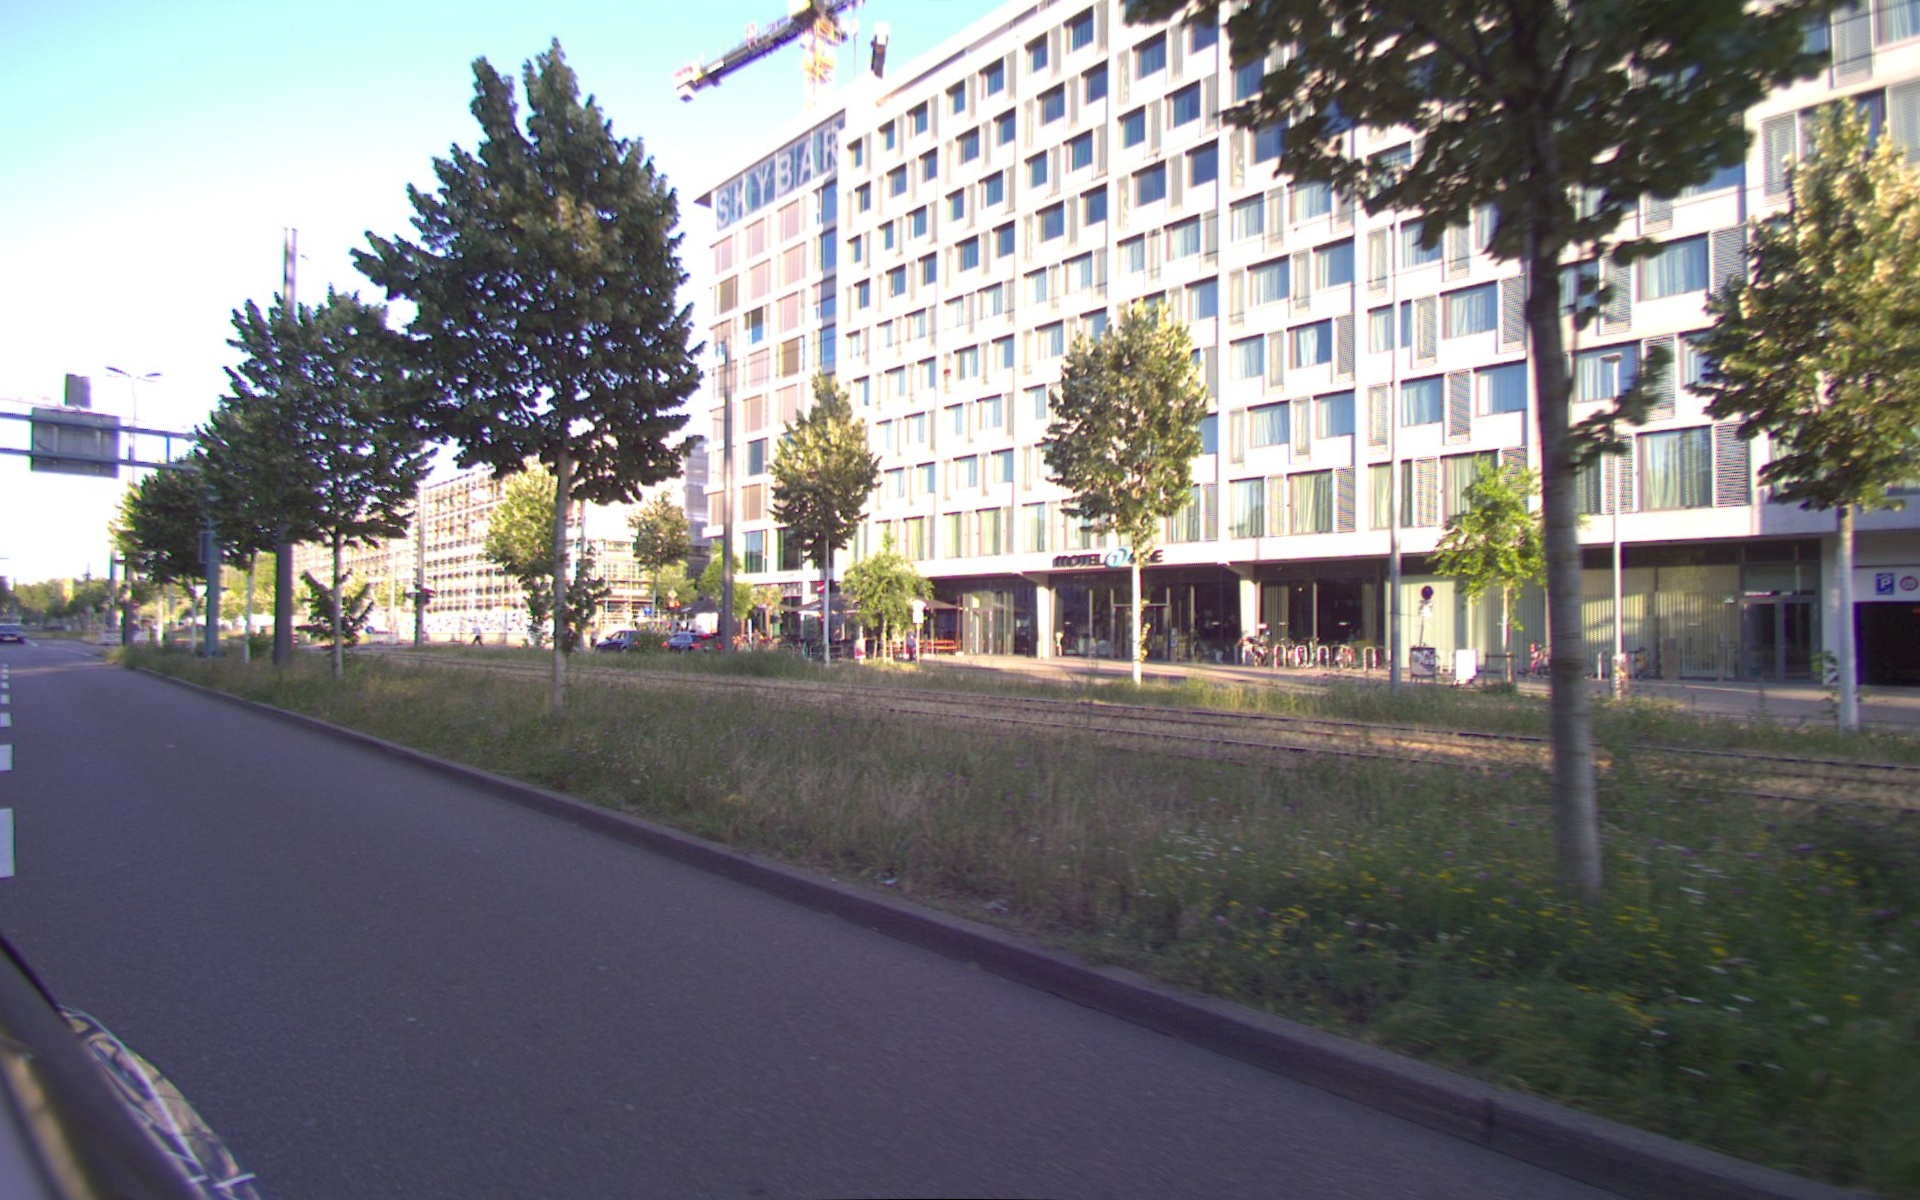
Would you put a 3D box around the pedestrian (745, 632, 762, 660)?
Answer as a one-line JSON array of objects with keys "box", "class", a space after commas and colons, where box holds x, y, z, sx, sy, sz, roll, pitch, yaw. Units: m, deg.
[{"box": [-12.095, 2.681, 59.185, 0.705, 1.616, 0.674, -2, -1, 27], "class": "pedestrian"}]

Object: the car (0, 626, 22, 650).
[{"box": [-67.252, 2.688, 71.257, 1.678, 1.609, 4.264, 1, -2, -42], "class": "car"}]

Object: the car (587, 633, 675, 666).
[{"box": [-15.450, 2.288, 47.359, 1.991, 1.452, 4.805, 5, -5, -44], "class": "car"}]

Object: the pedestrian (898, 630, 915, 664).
[{"box": [-2.573, 2.244, 48.452, 0.491, 1.612, 0.604, -1, -1, -42], "class": "pedestrian"}]

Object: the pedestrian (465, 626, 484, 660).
[{"box": [-26.831, 2.371, 55.933, 0.698, 1.850, 0.763, 0, -2, -45], "class": "pedestrian"}]

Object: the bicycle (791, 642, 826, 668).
[{"box": [-7.612, 2.752, 50.867, 0.443, 1.208, 1.888, -2, -1, 43], "class": "bicycle"}]

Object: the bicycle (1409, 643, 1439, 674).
[{"box": [16.237, 2.033, 35.402, 0.421, 1.028, 1.768, -2, -3, 42], "class": "bicycle"}]

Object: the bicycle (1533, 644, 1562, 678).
[{"box": [18.738, 1.936, 32.265, 0.421, 1.028, 1.768, -2, -3, 42], "class": "bicycle"}]

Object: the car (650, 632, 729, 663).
[{"box": [-13.219, 2.276, 49.264, 1.863, 1.451, 4.226, 2, -3, -45], "class": "car"}]

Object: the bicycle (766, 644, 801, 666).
[{"box": [-9.102, 2.844, 52.180, 0.443, 1.067, 1.888, -2, -1, 43], "class": "bicycle"}]

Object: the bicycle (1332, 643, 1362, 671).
[{"box": [14.282, 2.090, 37.294, 0.421, 1.028, 1.723, -2, -3, 42], "class": "bicycle"}]

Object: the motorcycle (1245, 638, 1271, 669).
[{"box": [11.859, 2.124, 40.212, 0.514, 1.180, 1.878, -1, -2, 31], "class": "motorcycle"}]

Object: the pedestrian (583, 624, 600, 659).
[{"box": [-20.995, 2.354, 57.612, 0.670, 1.938, 0.709, -1, -1, -42], "class": "pedestrian"}]

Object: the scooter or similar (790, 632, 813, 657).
[{"box": [-8.064, 2.257, 51.587, 1.167, 1.227, 0.338, 2, -3, -43], "class": "scooter or similar"}]

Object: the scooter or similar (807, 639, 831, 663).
[{"box": [-6.920, 2.506, 49.779, 1.167, 1.172, 0.338, 3, -3, -43], "class": "scooter or similar"}]

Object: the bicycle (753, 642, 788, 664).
[{"box": [-9.952, 2.771, 53.255, 0.443, 1.067, 1.888, -2, -1, 43], "class": "bicycle"}]
